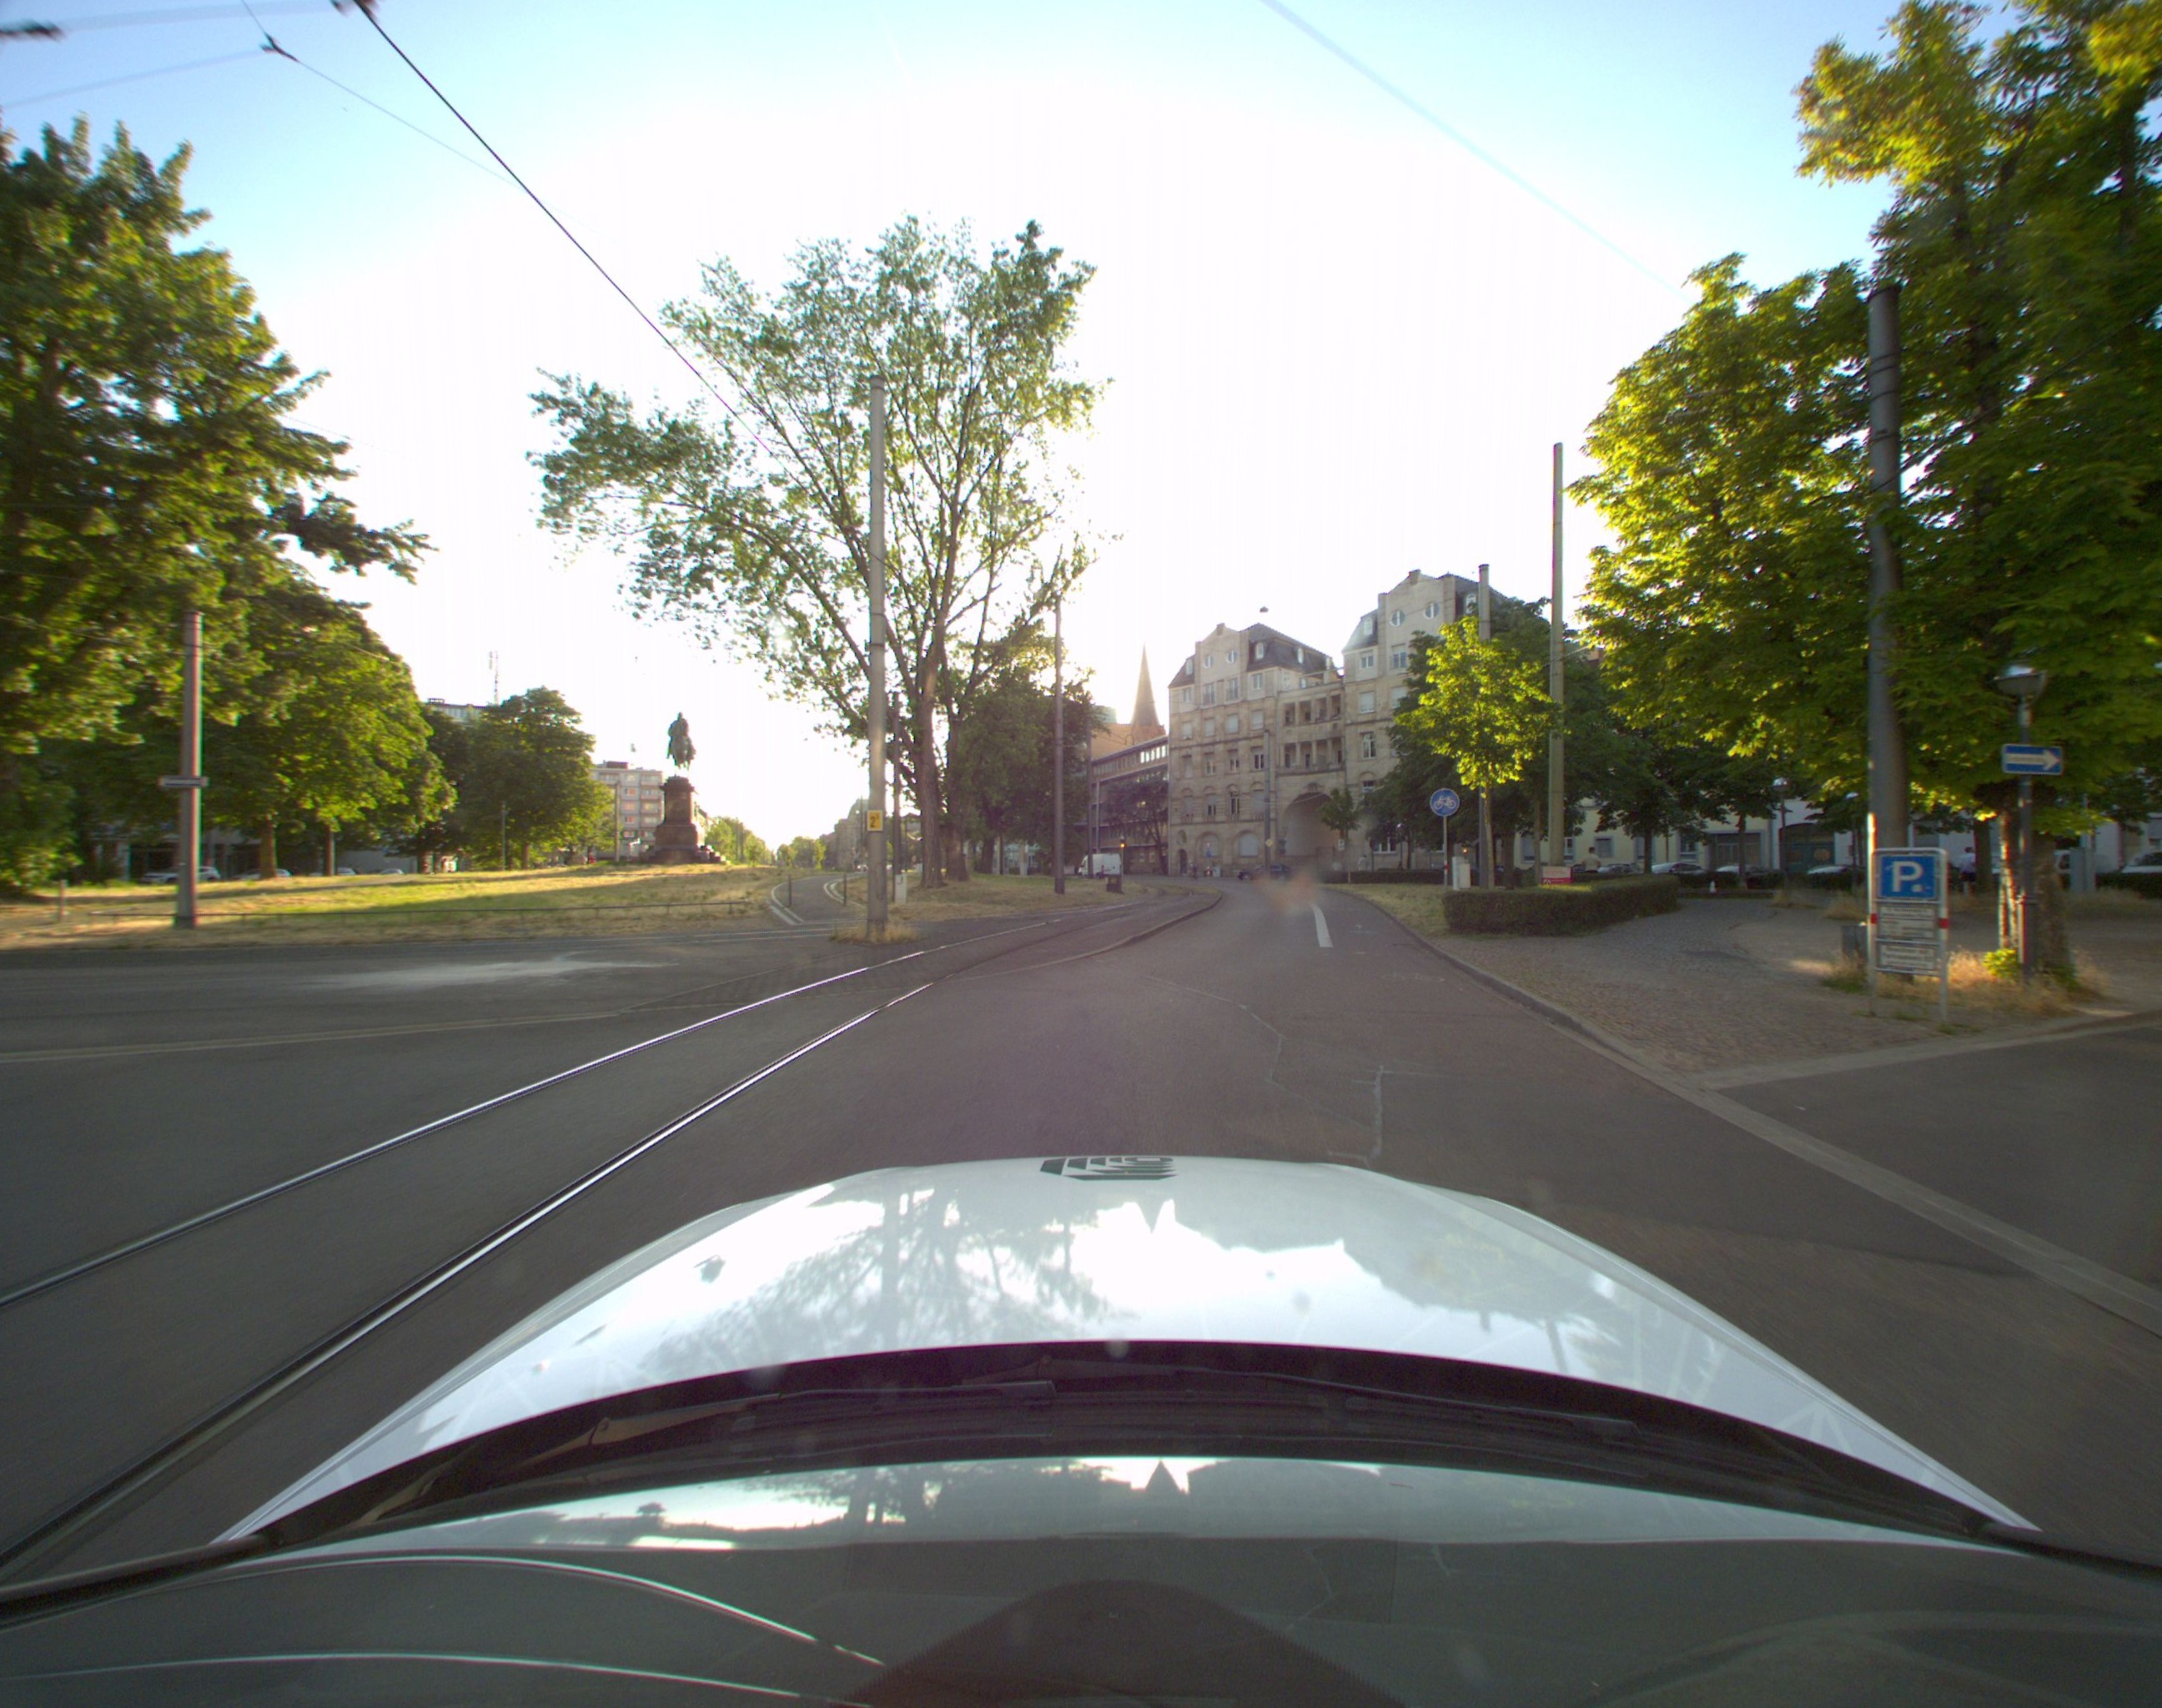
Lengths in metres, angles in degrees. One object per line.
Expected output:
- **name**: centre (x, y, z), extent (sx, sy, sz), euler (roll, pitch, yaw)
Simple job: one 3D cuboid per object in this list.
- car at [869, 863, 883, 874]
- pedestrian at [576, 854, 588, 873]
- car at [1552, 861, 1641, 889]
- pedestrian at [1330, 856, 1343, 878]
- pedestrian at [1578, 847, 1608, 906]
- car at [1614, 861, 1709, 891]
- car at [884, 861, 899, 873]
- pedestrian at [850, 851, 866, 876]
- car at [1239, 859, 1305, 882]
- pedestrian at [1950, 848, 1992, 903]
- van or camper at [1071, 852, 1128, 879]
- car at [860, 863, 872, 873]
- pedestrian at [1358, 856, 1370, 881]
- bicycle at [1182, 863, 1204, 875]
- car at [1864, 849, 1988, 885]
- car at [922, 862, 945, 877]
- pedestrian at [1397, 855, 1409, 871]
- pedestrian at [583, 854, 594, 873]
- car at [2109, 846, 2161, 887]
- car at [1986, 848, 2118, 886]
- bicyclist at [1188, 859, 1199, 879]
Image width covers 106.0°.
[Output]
- **car**: centre (-38.826, 2.703, 154.061), extent (2.146, 2.014, 3.973), euler (0, 0, -20)
- **pedestrian**: centre (-44.122, 0.828, 72.005), extent (0.773, 1.606, 0.632), euler (-1, 0, -27)
- **car**: centre (27.379, 1.101, 43.251), extent (4.333, 1.426, 1.848), euler (0, -2, -22)
- **pedestrian**: centre (17.468, 0.910, 55.742), extent (0.691, 1.511, 0.586), euler (1, -1, -45)
- **pedestrian**: centre (17.843, 0.768, 28.355), extent (0.822, 2.014, 0.643), euler (0, -1, -38)
- **car**: centre (29.189, 1.083, 40.953), extent (4.333, 1.426, 1.848), euler (0, -2, -22)
- **car**: centre (-32.956, 2.300, 141.372), extent (2.146, 2.014, 3.973), euler (0, 0, -20)
- **pedestrian**: centre (-14.053, 0.588, 51.309), extent (0.630, 1.606, 0.776), euler (-1, 0, 27)
- **car**: centre (14.836, 1.267, 63.340), extent (4.710, 1.762, 1.831), euler (0, -1, 26)
- **pedestrian**: centre (29.210, 0.691, 26.724), extent (1.011, 1.749, 0.762), euler (0, -1, -33)
- **van or camper**: centre (1.693, 1.048, 76.972), extent (2.622, 2.472, 6.262), euler (-1, 0, -28)
- **car**: centre (-45.031, 2.980, 170.723), extent (2.146, 2.014, 3.973), euler (0, 0, -20)
- **pedestrian**: centre (17.462, 0.908, 50.256), extent (0.627, 1.511, 0.691), euler (0, -1, 28)
- **bicycle**: centre (9.151, 1.225, 66.622), extent (0.512, 0.978, 2.219), euler (0, -1, -33)
- **car**: centre (35.134, 0.539, 33.873), extent (4.468, 1.426, 1.849), euler (0, -2, -19)
- **car**: centre (-20.778, 2.135, 114.613), extent (2.005, 1.969, 3.964), euler (-1, 0, -28)
- **pedestrian**: centre (26.213, 0.728, 66.231), extent (0.638, 1.368, 0.679), euler (0, -1, -43)
- **pedestrian**: centre (-43.343, 0.820, 71.694), extent (0.773, 1.606, 0.632), euler (-1, 0, -27)
- **car**: centre (39.688, 0.450, 29.535), extent (4.333, 1.426, 1.848), euler (0, -2, -22)
- **car**: centre (38.033, 0.507, 31.902), extent (4.468, 1.426, 1.849), euler (0, -2, -19)
- **bicyclist**: centre (9.176, 1.225, 66.581), extent (0.512, 1.642, 0.767), euler (0, -1, -34)
